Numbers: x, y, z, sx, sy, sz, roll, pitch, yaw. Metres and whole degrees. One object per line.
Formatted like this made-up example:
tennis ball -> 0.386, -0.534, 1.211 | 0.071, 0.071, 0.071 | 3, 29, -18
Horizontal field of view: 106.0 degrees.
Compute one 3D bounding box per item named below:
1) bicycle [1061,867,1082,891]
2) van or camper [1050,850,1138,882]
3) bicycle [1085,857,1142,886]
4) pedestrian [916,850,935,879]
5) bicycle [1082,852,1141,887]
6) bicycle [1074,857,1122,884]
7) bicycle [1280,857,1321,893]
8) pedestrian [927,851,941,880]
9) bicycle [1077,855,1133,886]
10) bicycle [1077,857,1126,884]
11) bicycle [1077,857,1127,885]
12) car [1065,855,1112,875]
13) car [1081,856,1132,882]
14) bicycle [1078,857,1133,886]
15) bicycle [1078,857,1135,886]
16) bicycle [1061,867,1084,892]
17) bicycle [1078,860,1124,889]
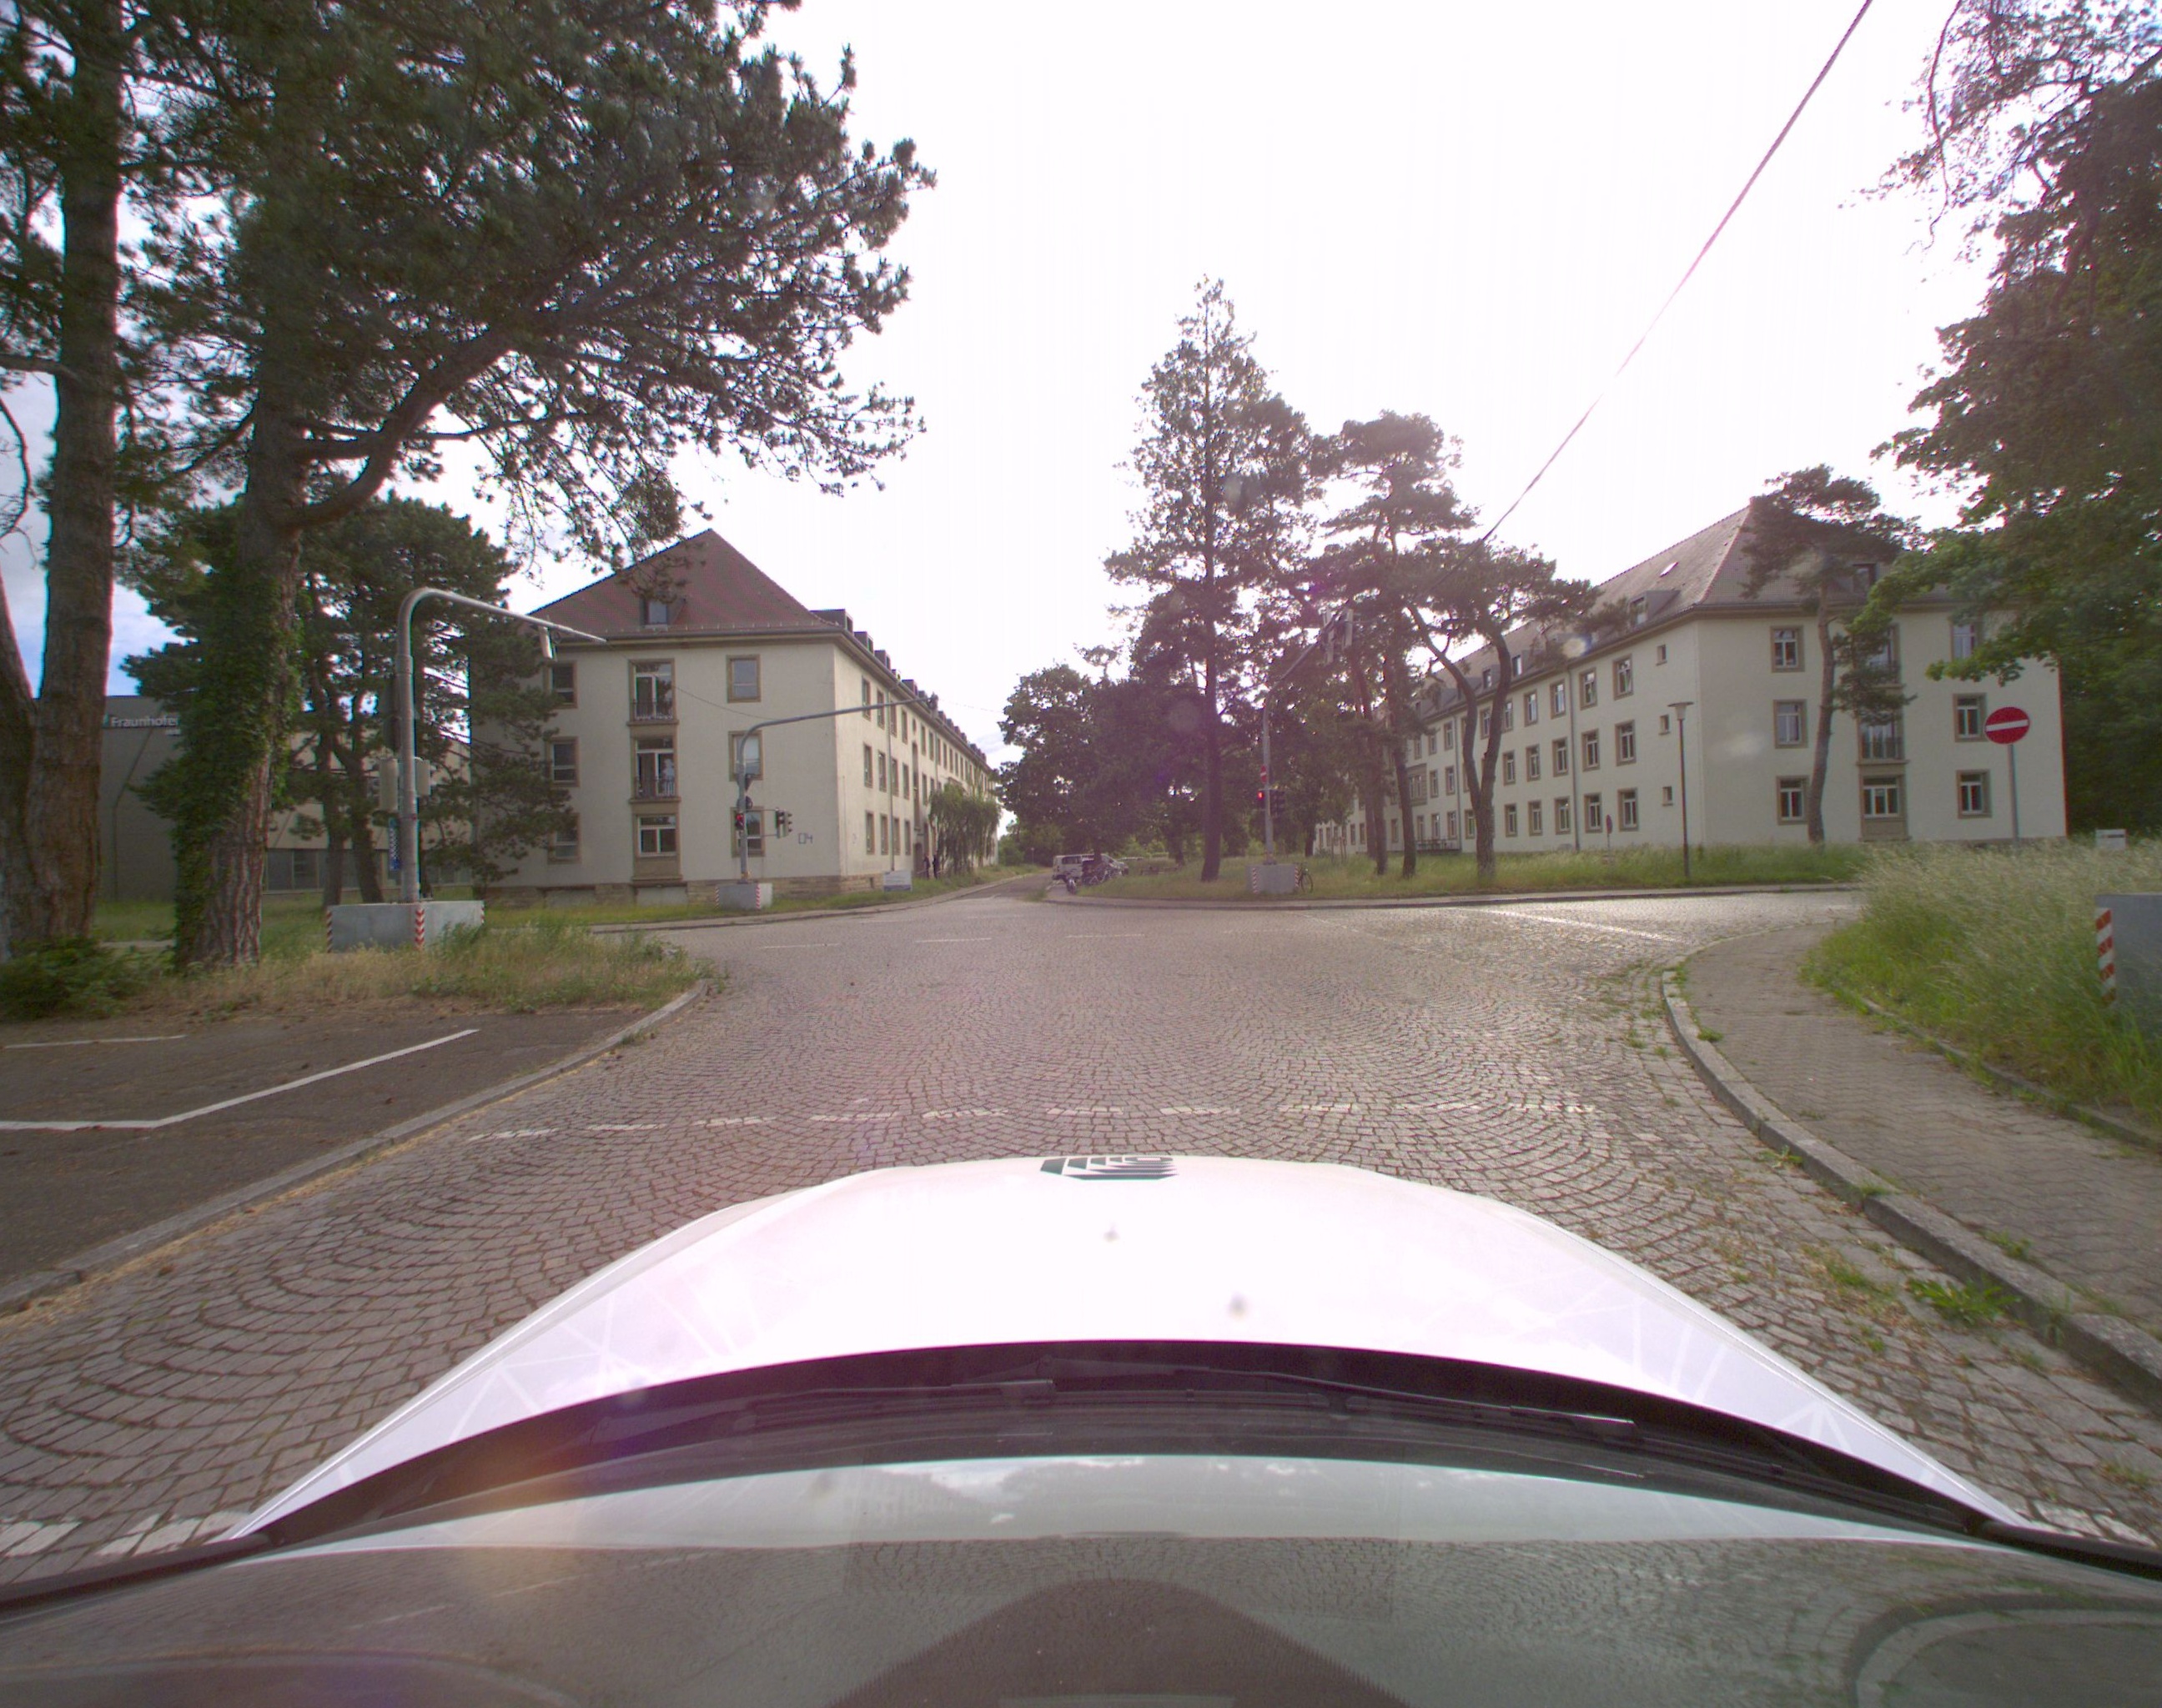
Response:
bicycle -> -0.436, 1.119, 37.065 | 0.724, 0.996, 1.981 | -2, 0, 5
van or camper -> 0.894, 0.828, 56.480 | 5.747, 1.957, 2.228 | -2, 0, -13
bicycle -> 1.609, 0.871, 40.784 | 2.794, 1.372, 0.950 | -2, -1, -1
pedestrian -> -10.198, 0.708, 53.467 | 1.195, 1.870, 1.544 | -1, -1, -10
bicycle -> 1.475, 0.767, 39.853 | 2.794, 1.583, 0.950 | -2, -1, -1
bicycle -> 0.938, 0.903, 44.846 | 2.561, 1.372, 0.950 | -2, -1, -2
bicycle -> 7.072, 0.659, 26.327 | 0.643, 1.062, 1.832 | -6, 0, -3
pedestrian -> -9.801, 0.759, 54.343 | 0.865, 1.932, 0.834 | 0, -1, -12
bicycle -> 1.129, 0.790, 38.980 | 2.611, 1.367, 0.874 | -2, -1, -1
bicycle -> 1.100, 0.890, 44.010 | 2.561, 1.372, 0.950 | -2, -1, -2
bicycle -> 1.112, 0.880, 43.170 | 2.561, 1.372, 0.950 | -2, -1, -2
car -> 0.622, 0.940, 70.305 | 3.977, 1.600, 1.702 | -2, 0, -3
car -> 1.653, 0.952, 52.979 | 3.215, 1.621, 1.937 | -1, -1, -1
bicycle -> 1.257, 0.894, 42.208 | 2.794, 1.372, 0.950 | -2, -1, -1
bicycle -> 1.284, 0.883, 41.315 | 2.794, 1.372, 0.950 | -2, -1, -1
bicycle -> -0.365, 1.091, 34.974 | 0.898, 0.996, 1.978 | -2, 0, -1
bicycle -> 0.944, 0.961, 38.365 | 2.106, 1.306, 0.874 | -2, -1, -1
